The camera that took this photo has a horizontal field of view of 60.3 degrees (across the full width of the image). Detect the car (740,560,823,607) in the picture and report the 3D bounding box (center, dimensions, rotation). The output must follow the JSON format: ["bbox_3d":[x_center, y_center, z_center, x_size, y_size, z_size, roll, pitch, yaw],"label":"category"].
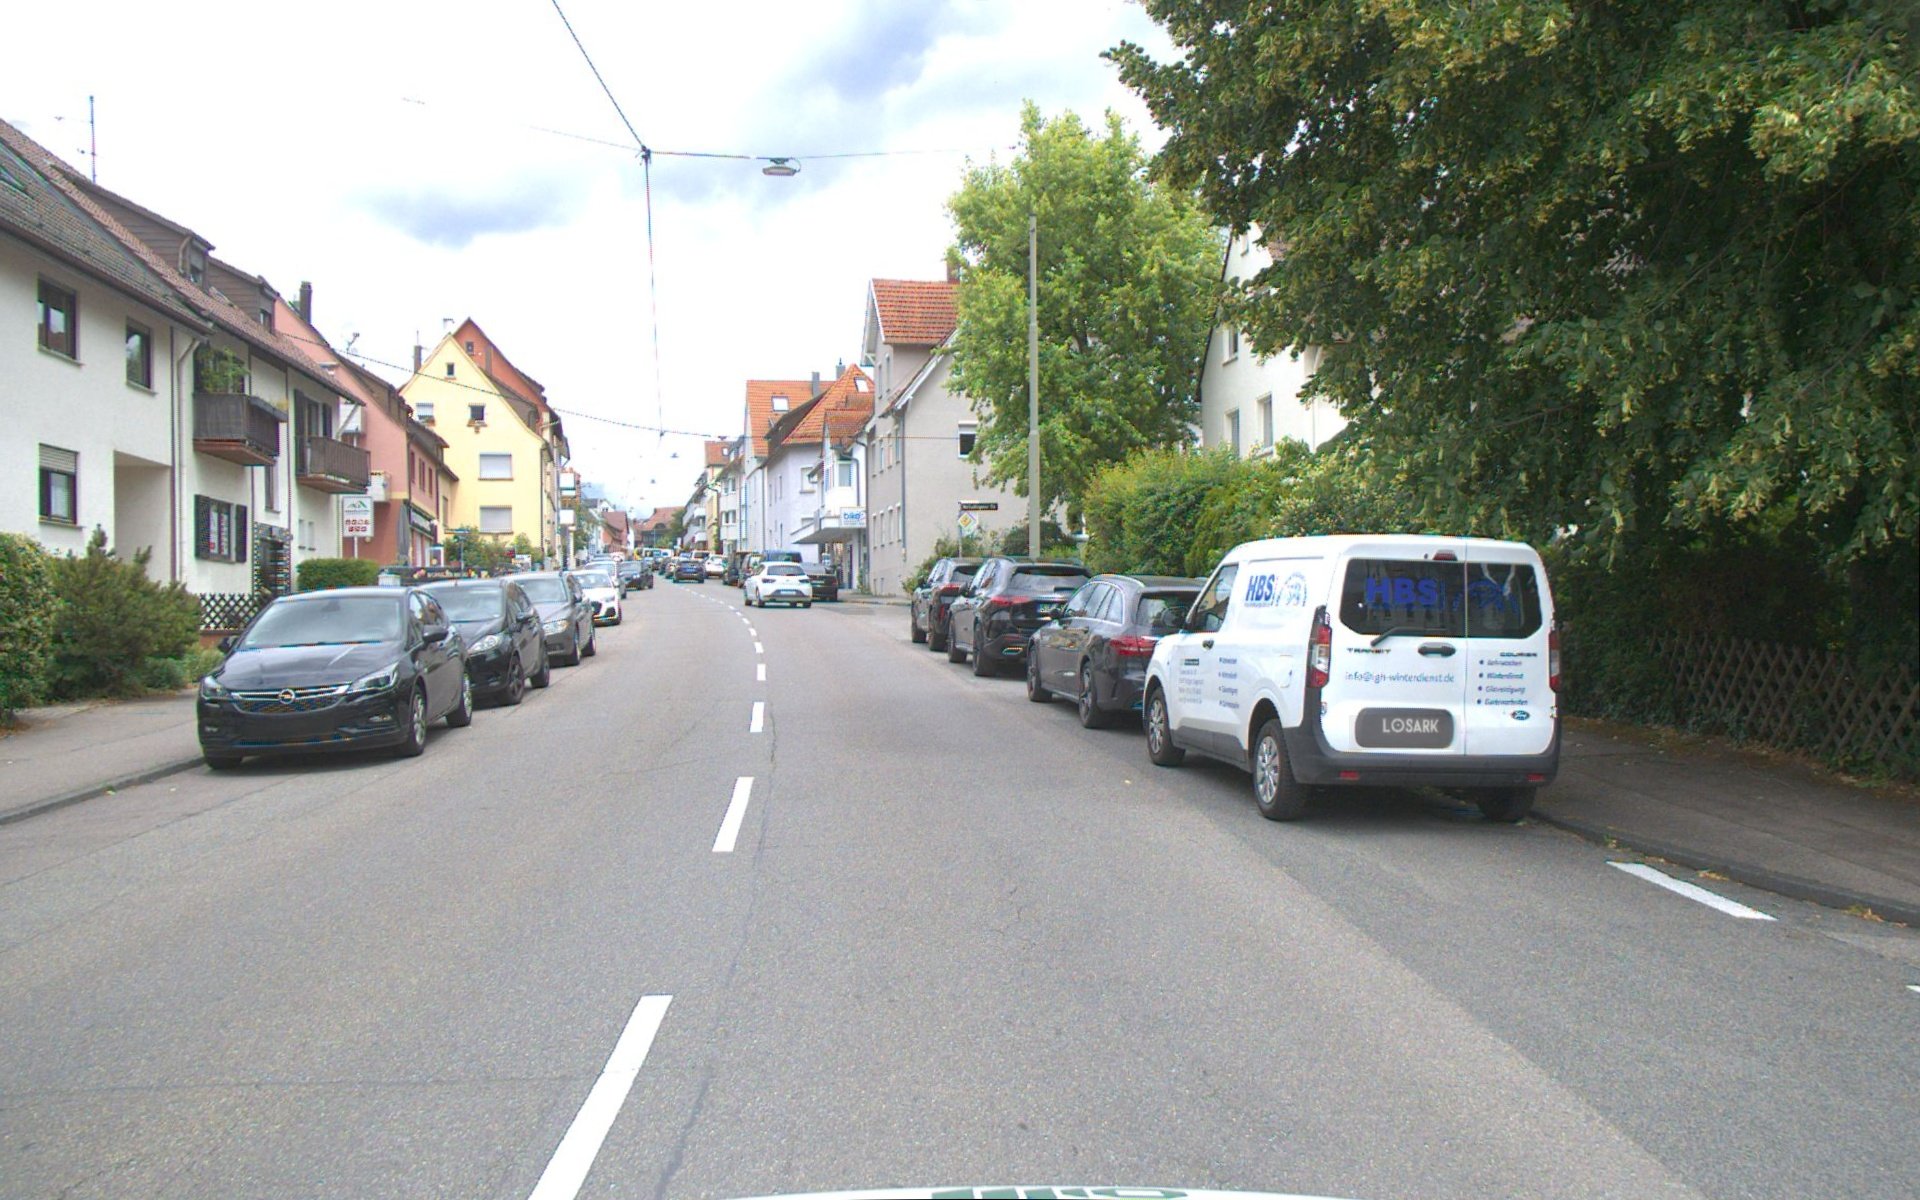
[{"bbox_3d":[-5.796,-0.558,53.297,1.911,1.464,3.980,0,1,-18],"label":"car"}]

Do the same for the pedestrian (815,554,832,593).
[{"bbox_3d":[-7.283,-1.413,88.239,0.744,2.049,0.619,0,1,22],"label":"pedestrian"}]

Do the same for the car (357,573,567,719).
[{"bbox_3d":[-6.004,0.474,20.390,1.730,1.463,4.071,-5,2,-7],"label":"car"}]

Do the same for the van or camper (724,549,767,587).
[{"bbox_3d":[-12.548,-1.871,96.367,1.959,2.101,5.927,1,1,-12],"label":"van or camper"}]

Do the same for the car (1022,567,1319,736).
[{"bbox_3d":[2.017,0.436,17.368,1.956,1.504,4.612,-1,1,-8],"label":"car"}]

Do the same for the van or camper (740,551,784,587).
[{"bbox_3d":[-10.683,-1.663,88.808,1.839,1.860,4.665,1,1,-13],"label":"van or camper"}]

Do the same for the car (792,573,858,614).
[{"bbox_3d":[-5.450,-0.269,66.180,1.959,1.544,4.876,1,1,-13],"label":"car"}]

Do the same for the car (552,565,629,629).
[{"bbox_3d":[-9.650,-0.101,43.427,1.695,1.483,3.889,-4,2,-10],"label":"car"}]

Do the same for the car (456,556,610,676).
[{"bbox_3d":[-6.970,0.183,27.442,1.812,1.709,4.779,-3,2,-7],"label":"car"}]

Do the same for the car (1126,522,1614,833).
[{"bbox_3d":[2.645,0.412,11.850,1.804,1.805,4.308,1,1,-9],"label":"car"}]

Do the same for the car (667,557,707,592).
[{"bbox_3d":[-16.623,-1.562,100.468,2.115,2.049,3.987,0,1,-13],"label":"car"}]

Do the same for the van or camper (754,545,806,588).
[{"bbox_3d":[-8.477,-1.564,77.474,1.893,1.959,4.815,0,1,-13],"label":"van or camper"}]

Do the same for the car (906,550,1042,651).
[{"bbox_3d":[0.157,-0.021,29.649,1.777,1.643,4.531,1,1,-8],"label":"car"}]

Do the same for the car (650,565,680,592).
[{"bbox_3d":[-23.293,-1.710,130.651,2.115,2.049,3.987,0,1,-13],"label":"car"}]

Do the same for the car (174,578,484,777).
[{"bbox_3d":[-5.579,0.581,15.143,1.730,1.463,4.071,-3,1,-8],"label":"car"}]

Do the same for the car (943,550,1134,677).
[{"bbox_3d":[1.016,0.156,23.987,1.956,1.643,4.531,1,1,-8],"label":"car"}]

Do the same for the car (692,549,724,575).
[{"bbox_3d":[-17.956,-2.706,117.744,1.907,1.722,3.987,2,1,-14],"label":"car"}]
